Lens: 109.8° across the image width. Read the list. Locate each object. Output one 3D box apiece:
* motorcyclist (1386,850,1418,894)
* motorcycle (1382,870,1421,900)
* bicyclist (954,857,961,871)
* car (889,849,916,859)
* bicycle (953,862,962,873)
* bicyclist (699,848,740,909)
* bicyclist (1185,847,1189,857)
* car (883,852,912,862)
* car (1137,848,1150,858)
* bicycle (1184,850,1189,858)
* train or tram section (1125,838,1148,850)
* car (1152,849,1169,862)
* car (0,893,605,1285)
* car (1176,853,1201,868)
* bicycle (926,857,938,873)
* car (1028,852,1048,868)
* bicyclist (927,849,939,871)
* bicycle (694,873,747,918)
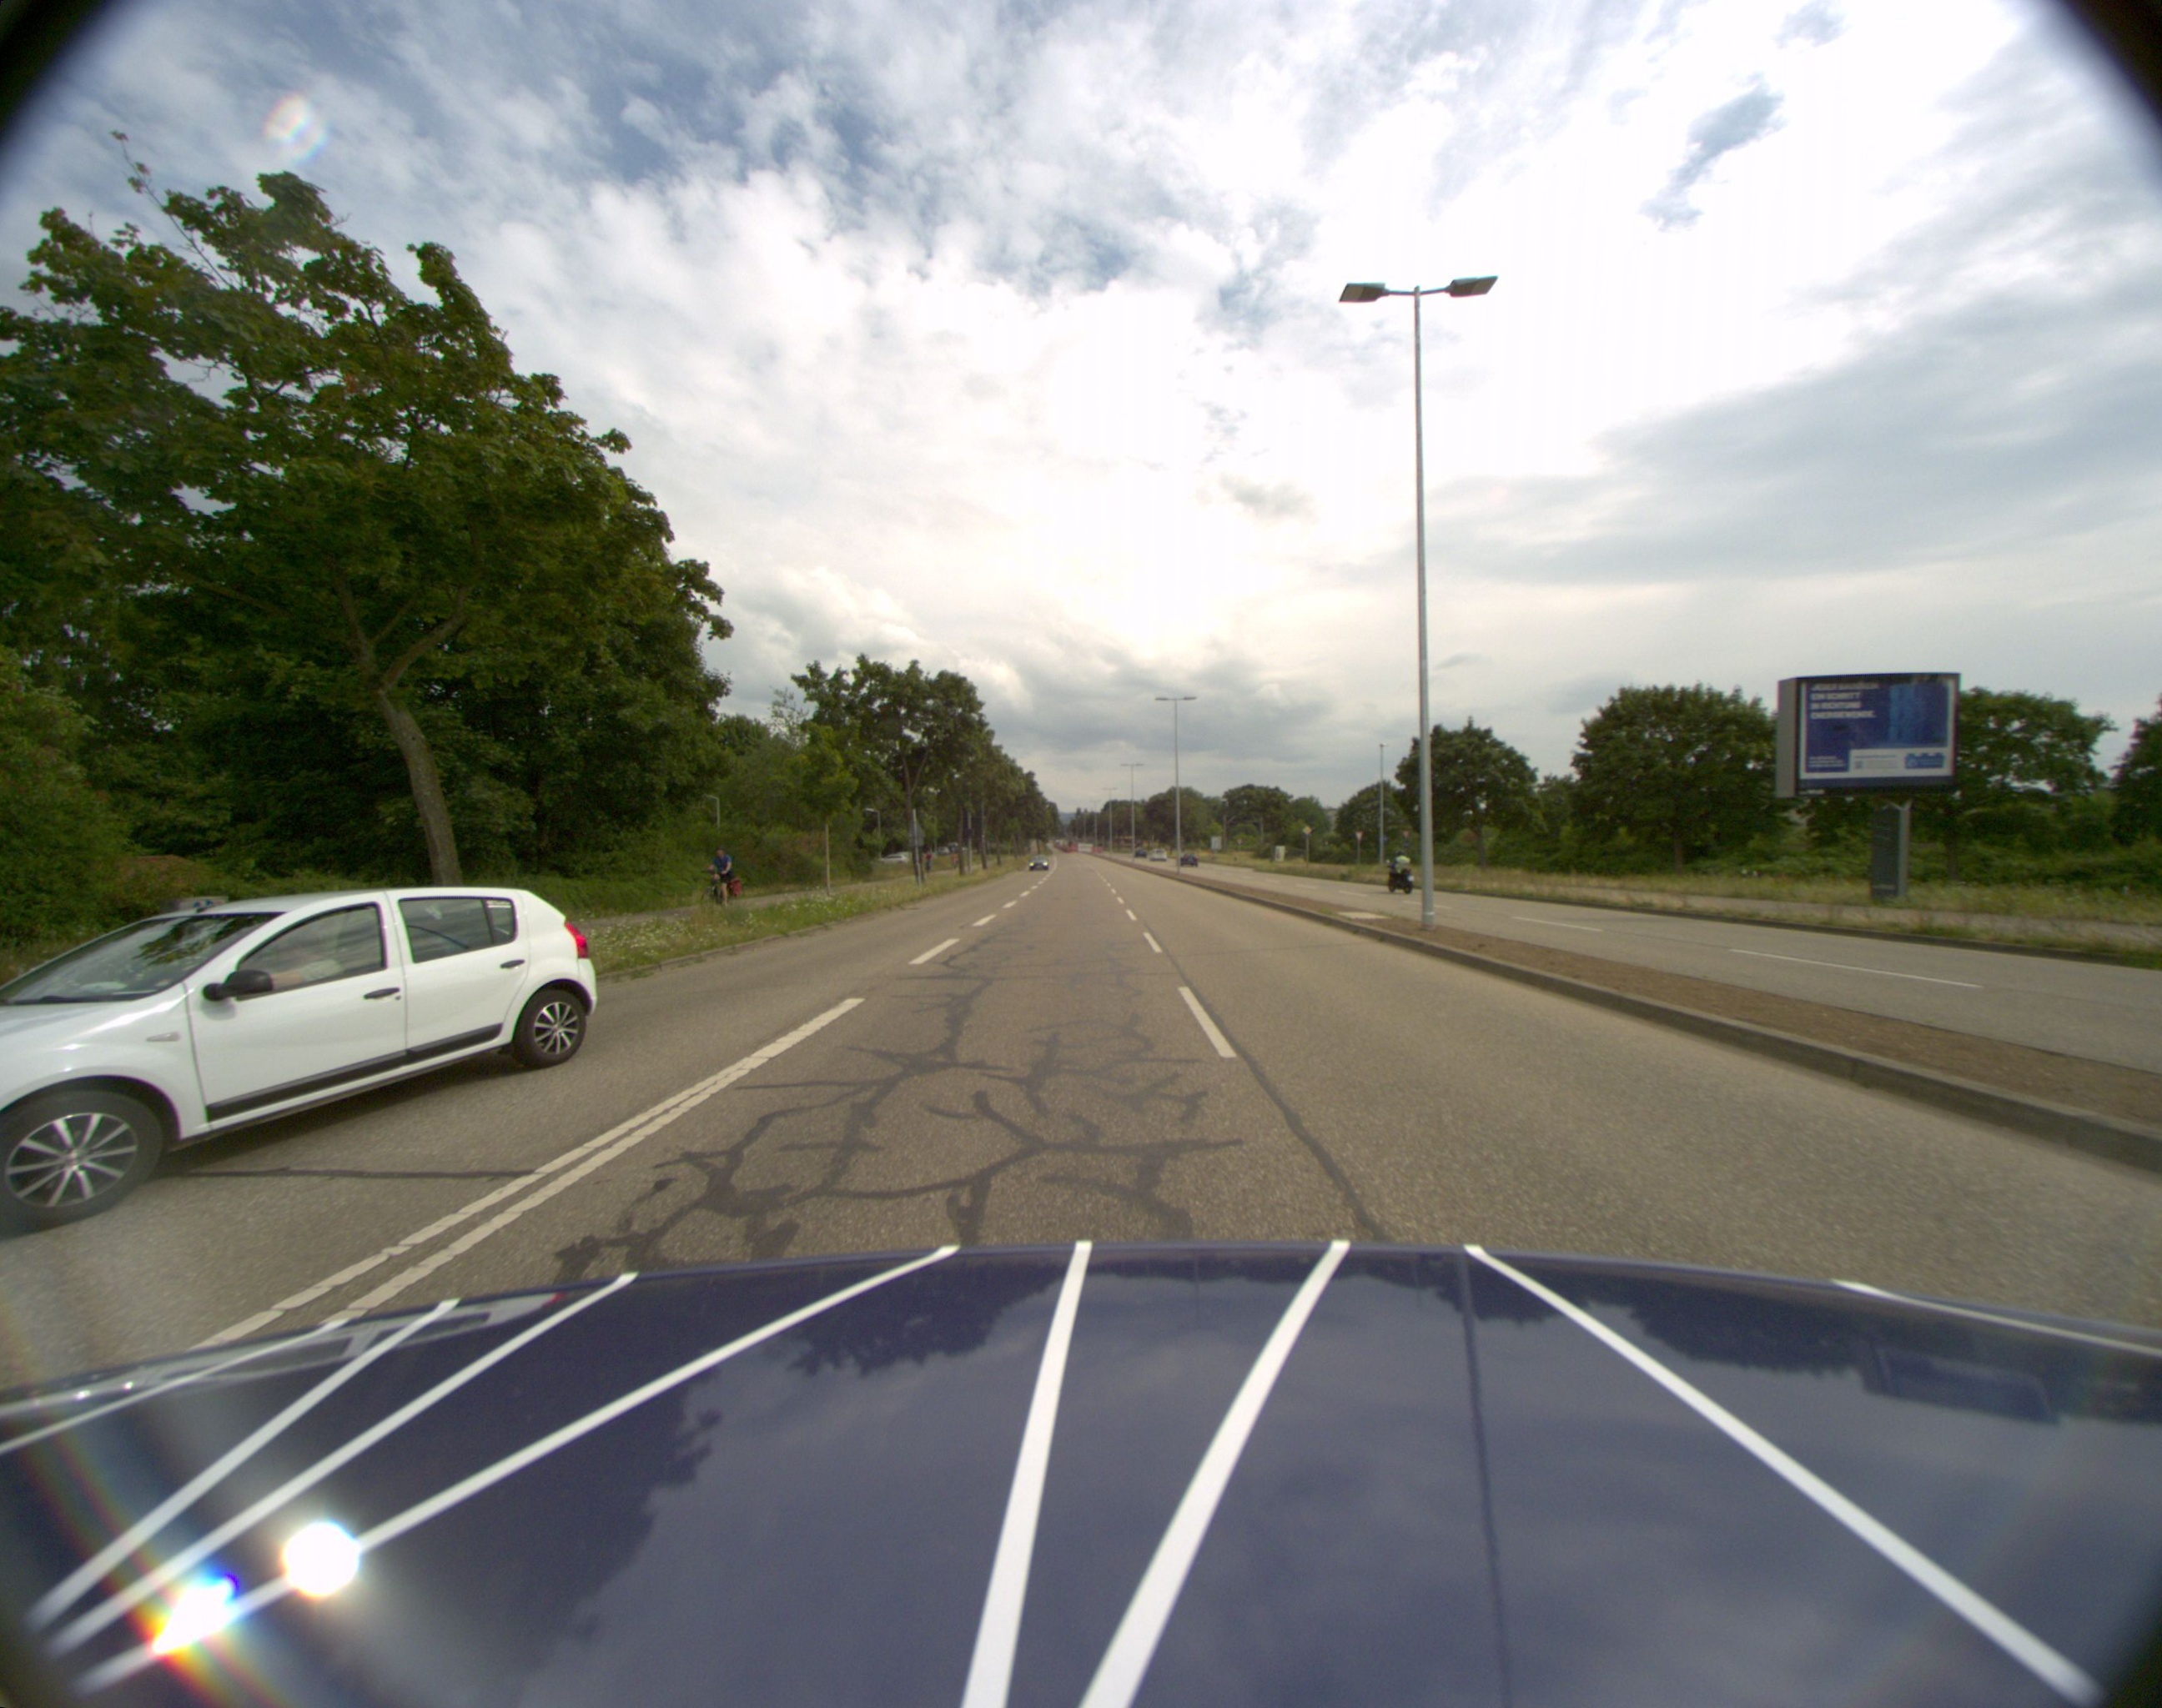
[{"bbox_3d":[11.666,0.633,27.671,0.772,1.579,0.896,1,1,0],"label":"motorcyclist"},{"bbox_3d":[11.658,1.111,27.700,0.524,0.961,2.219,0,0,0],"label":"motorcycle"},{"bbox_3d":[-11.038,0.893,67.785,0.540,1.275,0.450,-2,2,-1],"label":"bicyclist"},{"bbox_3d":[-27.968,-0.077,119.016,3.999,1.547,1.650,0,1,-7],"label":"car"},{"bbox_3d":[-11.025,1.200,67.849,0.515,0.958,1.782,0,1,-1],"label":"bicycle"},{"bbox_3d":[-10.052,0.671,21.148,0.653,1.648,0.876,-2,1,-1],"label":"bicyclist"},{"bbox_3d":[19.926,-0.350,143.339,0.645,1.821,0.819,0,1,-1],"label":"bicyclist"},{"bbox_3d":[-27.030,0.376,111.822,3.999,1.435,1.650,0,1,-7],"label":"car"},{"bbox_3d":[10.582,-0.216,128.971,1.852,1.644,4.563,0,1,-1],"label":"car"},{"bbox_3d":[19.912,0.043,143.303,0.537,1.414,2.166,1,1,-1],"label":"bicycle"},{"bbox_3d":[16.726,-2.849,228.929,2.924,3.402,11.929,-2,1,-16],"label":"train or tram section"},{"bbox_3d":[10.981,0.217,105.079,1.773,1.644,4.637,1,1,-1],"label":"car"},{"bbox_3d":[-5.438,1.172,4.729,1.850,1.493,4.003,-3,1,11],"label":"car"},{"bbox_3d":[11.203,0.651,79.519,1.773,1.523,4.740,0,1,-1],"label":"car"},{"bbox_3d":[-11.021,0.774,56.356,0.515,1.141,2.231,0,1,-1],"label":"bicycle"},{"bbox_3d":[-4.042,0.563,71.531,1.773,1.439,4.322,-1,1,-2],"label":"car"},{"bbox_3d":[-11.002,0.430,56.467,0.653,1.648,0.780,-2,1,-1],"label":"bicyclist"},{"bbox_3d":[-10.039,1.129,21.245,0.575,1.141,1.982,0,0,-1],"label":"bicycle"}]
